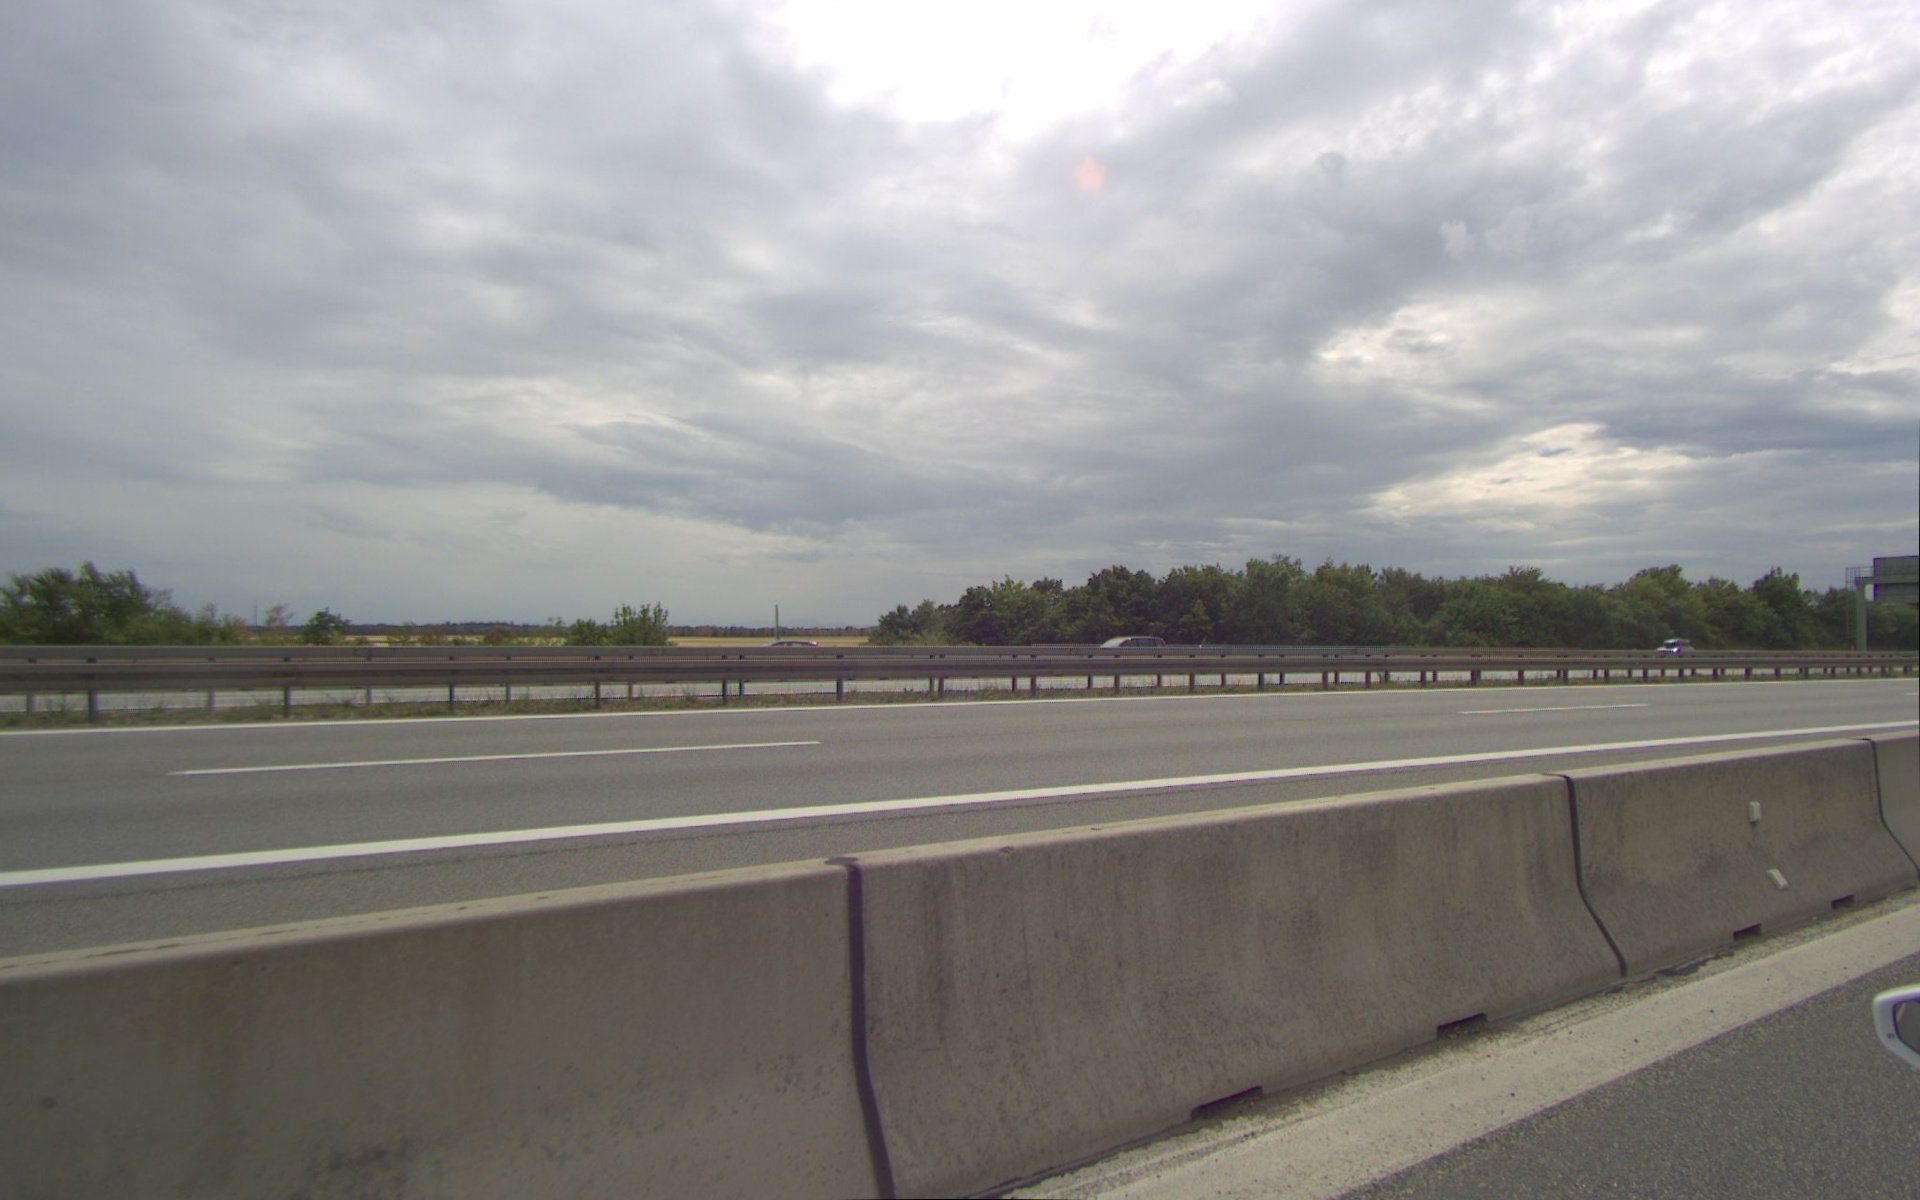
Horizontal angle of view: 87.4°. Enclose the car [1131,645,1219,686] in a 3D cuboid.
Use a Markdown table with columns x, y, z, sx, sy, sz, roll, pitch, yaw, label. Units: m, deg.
| x | y | z | sx | sy | sz | roll | pitch | yaw | label |
| --- | --- | --- | --- | --- | --- | --- | --- | --- | --- |
| 10.121 | 3.039 | 47.233 | 3.953 | 1.751 | 1.680 | 0 | 0 | -31 | car |
